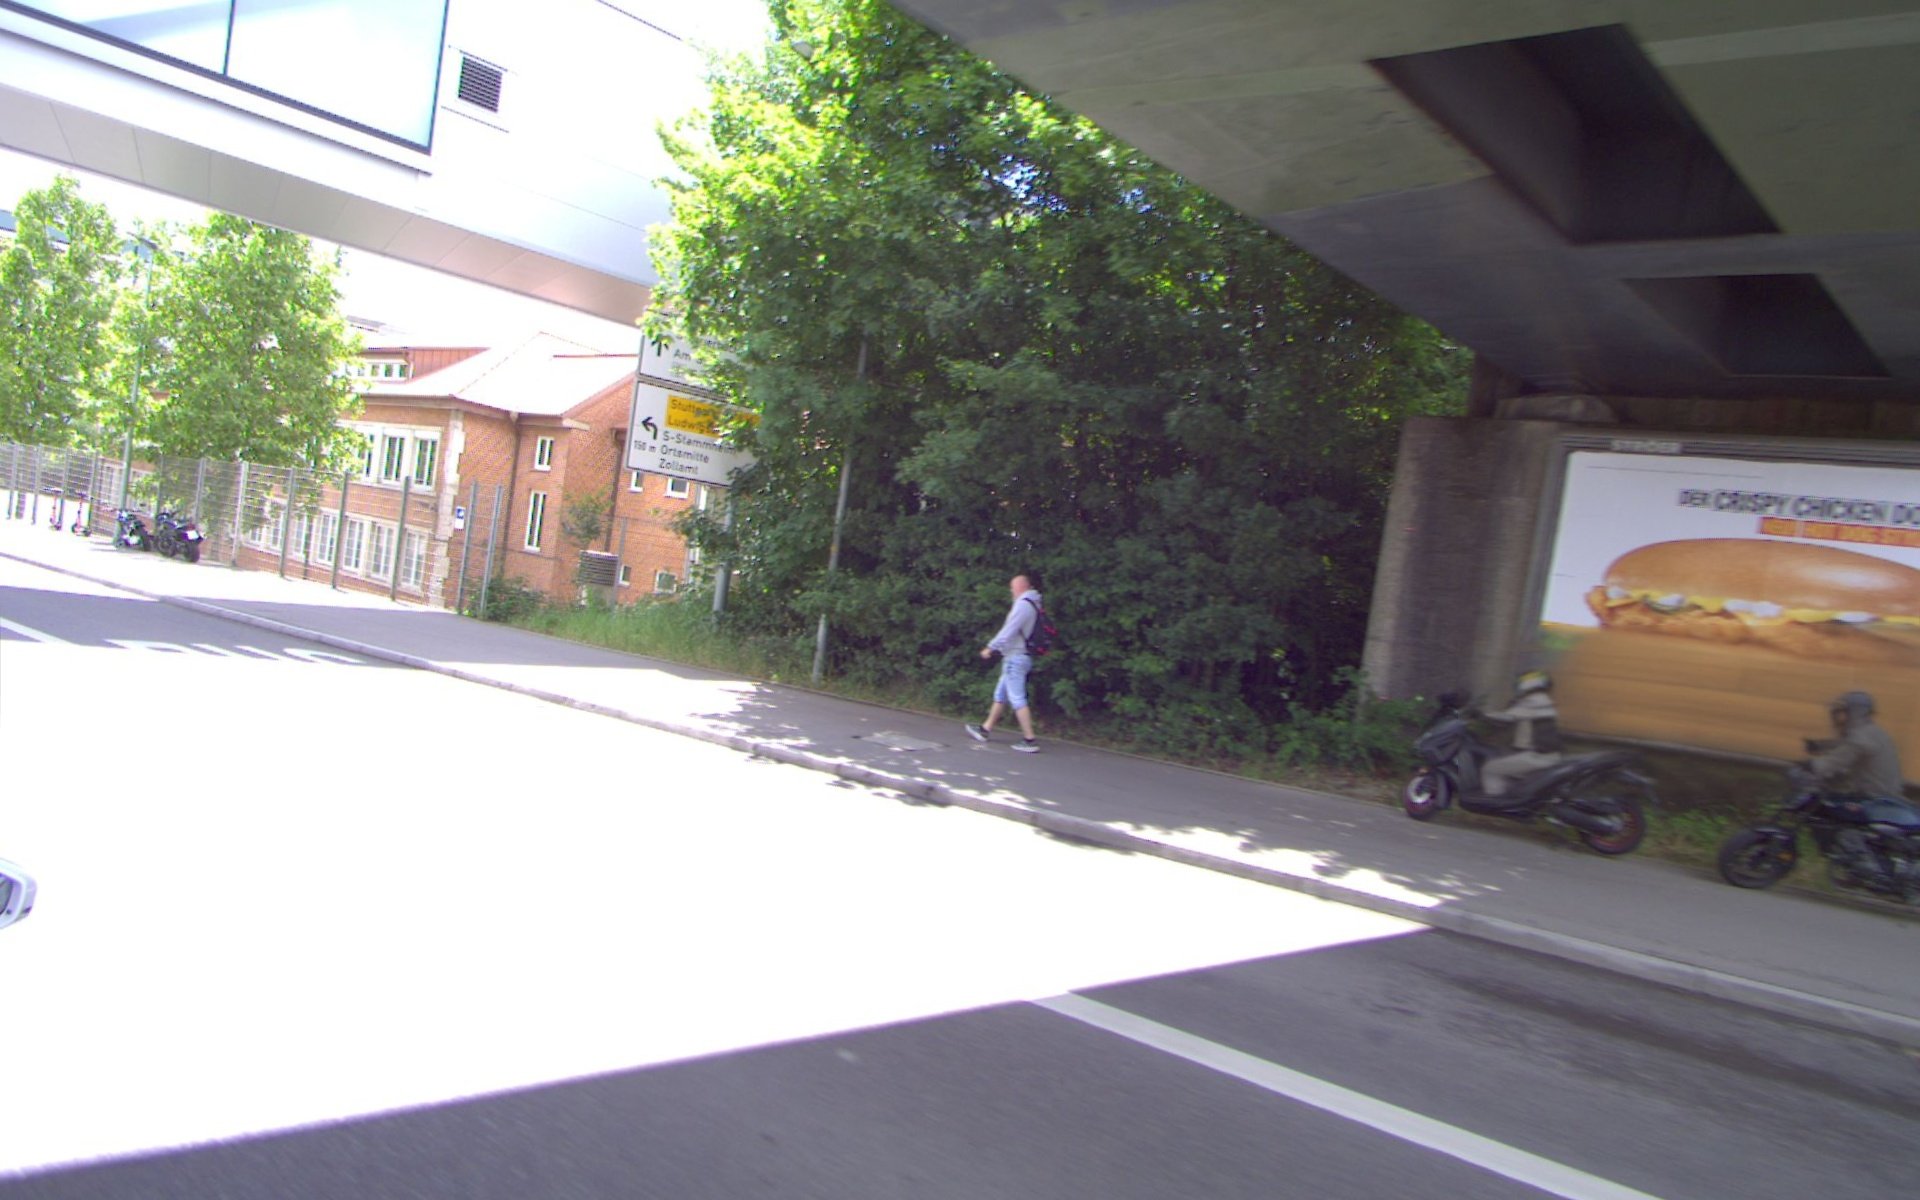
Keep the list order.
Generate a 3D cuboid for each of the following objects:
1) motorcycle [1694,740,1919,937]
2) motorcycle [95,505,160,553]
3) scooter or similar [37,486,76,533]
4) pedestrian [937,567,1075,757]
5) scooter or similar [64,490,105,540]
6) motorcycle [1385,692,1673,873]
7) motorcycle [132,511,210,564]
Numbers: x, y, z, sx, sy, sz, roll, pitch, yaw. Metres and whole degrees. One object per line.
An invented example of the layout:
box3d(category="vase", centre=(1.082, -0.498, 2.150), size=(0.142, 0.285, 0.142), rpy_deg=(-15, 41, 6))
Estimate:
box3d(category="motorcycle", centre=(6.960, 1.839, 7.589), size=(2.124, 1.158, 0.678), rpy_deg=(7, 1, 32))
box3d(category="motorcycle", centre=(-22.038, -1.882, 26.616), size=(2.210, 1.079, 0.668), rpy_deg=(7, 3, 32))
box3d(category="scooter or similar", centre=(-27.664, -2.767, 30.797), size=(1.315, 1.311, 0.491), rpy_deg=(7, 2, 33))
box3d(category="pedestrian", centre=(0.508, 0.666, 11.146), size=(1.079, 1.911, 0.790), rpy_deg=(7, 1, 32))
box3d(category="scooter or similar", centre=(-25.706, -2.501, 29.528), size=(1.315, 1.311, 0.491), rpy_deg=(7, 2, 33))
box3d(category="motorcycle", centre=(5.068, 1.572, 9.075), size=(2.079, 1.169, 0.678), rpy_deg=(7, 1, 34))
box3d(category="motorcycle", centre=(-19.517, -1.558, 24.875), size=(2.469, 1.078, 0.707), rpy_deg=(7, 3, 32))
